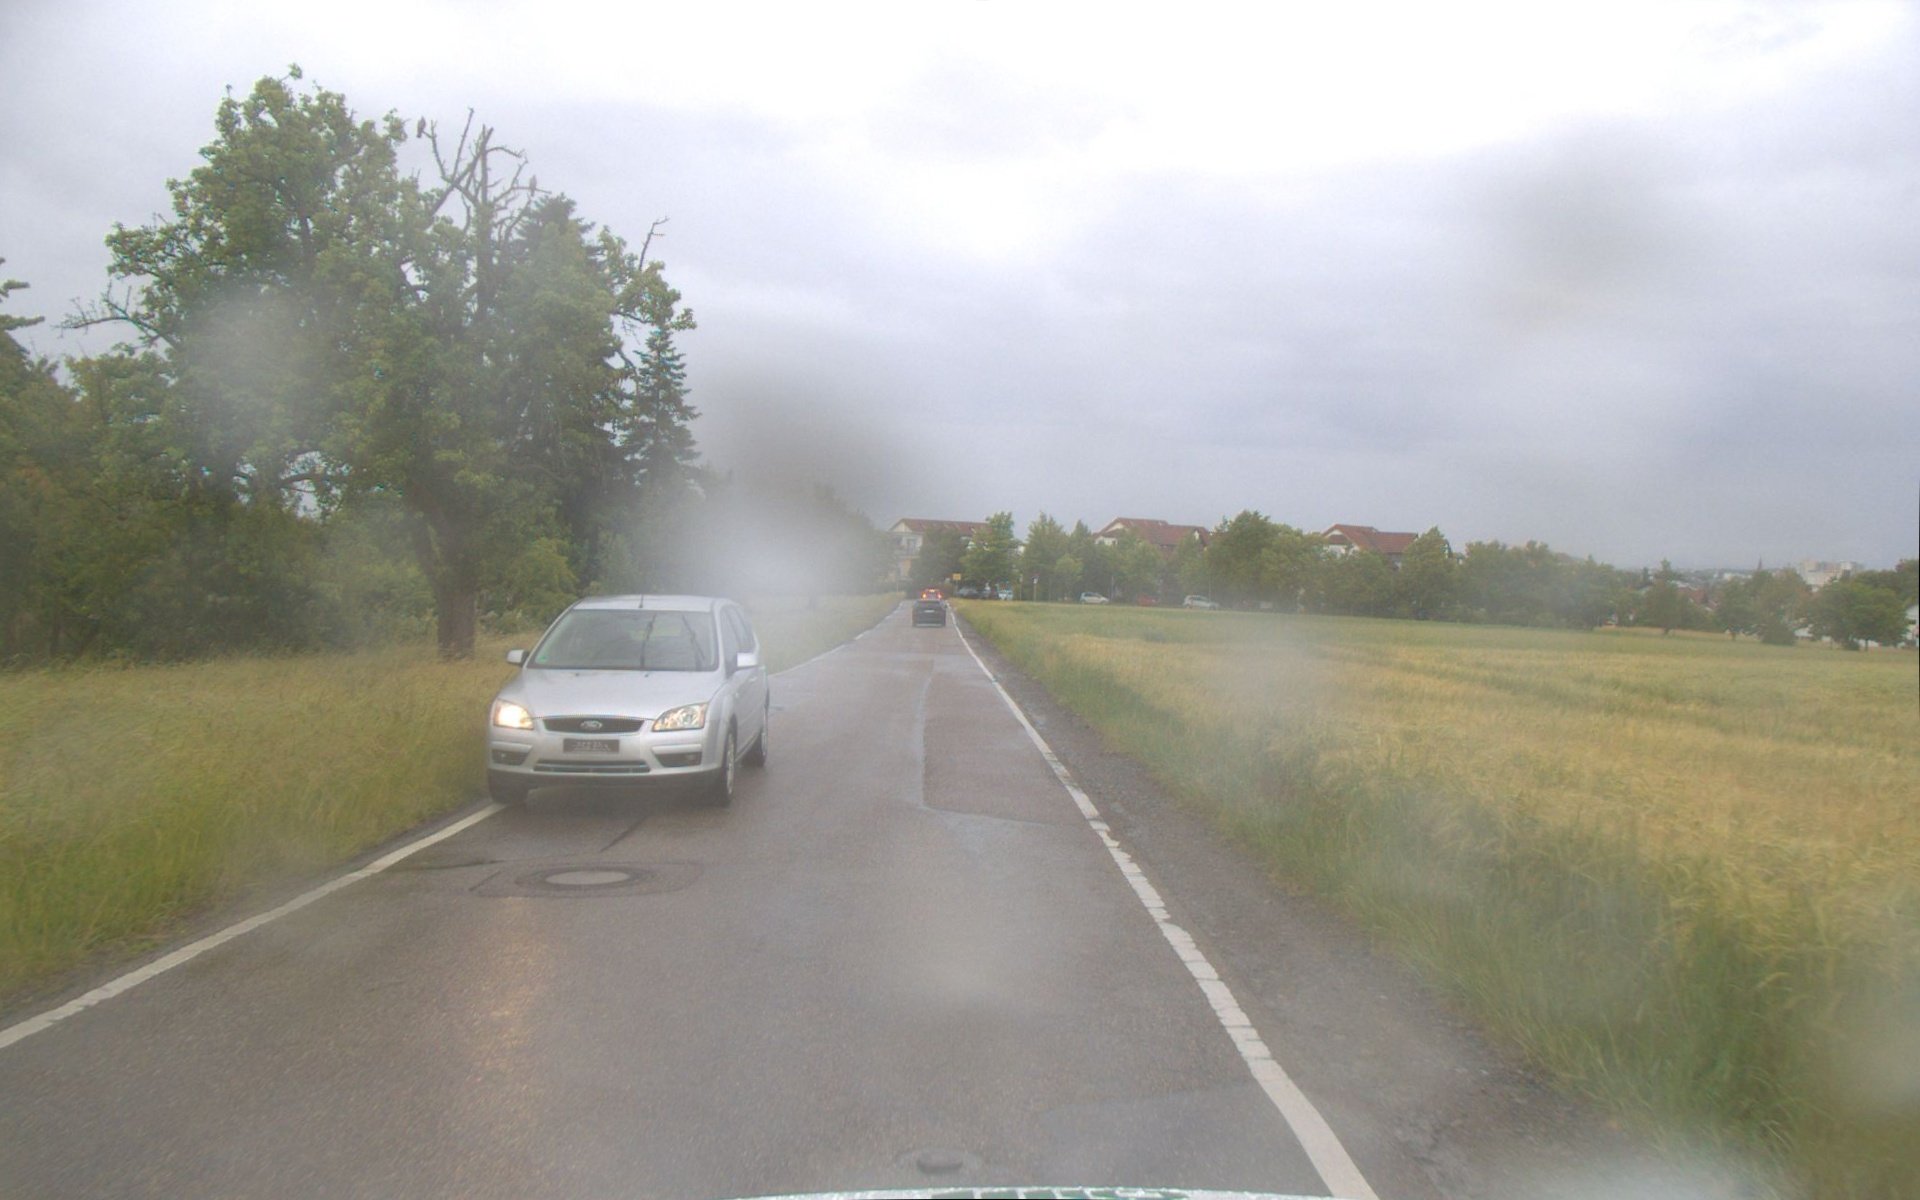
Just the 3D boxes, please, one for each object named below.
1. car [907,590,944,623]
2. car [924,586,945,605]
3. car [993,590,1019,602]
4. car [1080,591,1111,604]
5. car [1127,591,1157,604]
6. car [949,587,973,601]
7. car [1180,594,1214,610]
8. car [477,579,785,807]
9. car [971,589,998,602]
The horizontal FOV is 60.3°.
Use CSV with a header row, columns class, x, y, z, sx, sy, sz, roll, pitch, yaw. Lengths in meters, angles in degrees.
class,x,y,z,sx,sy,sz,roll,pitch,yaw
car,-1.766,0.334,85.862,1.777,1.622,4.000,2,-1,0
car,-2.312,-0.437,150.848,1.777,1.622,4.000,2,-1,0
car,6.221,-0.555,224.351,1.632,1.573,3.986,1,-1,34
car,15.275,-0.299,186.297,3.317,1.394,1.549,2,-1,12
car,20.424,-0.274,185.275,3.124,1.394,1.573,2,-1,12
car,0.130,-0.775,214.087,1.627,1.573,3.998,1,-1,24
car,26.334,0.207,183.824,3.630,1.591,1.611,2,-1,12
car,-2.444,0.659,13.270,1.704,1.497,4.121,2,-1,-2
car,3.267,-0.649,220.062,1.632,1.573,3.986,1,-1,34
